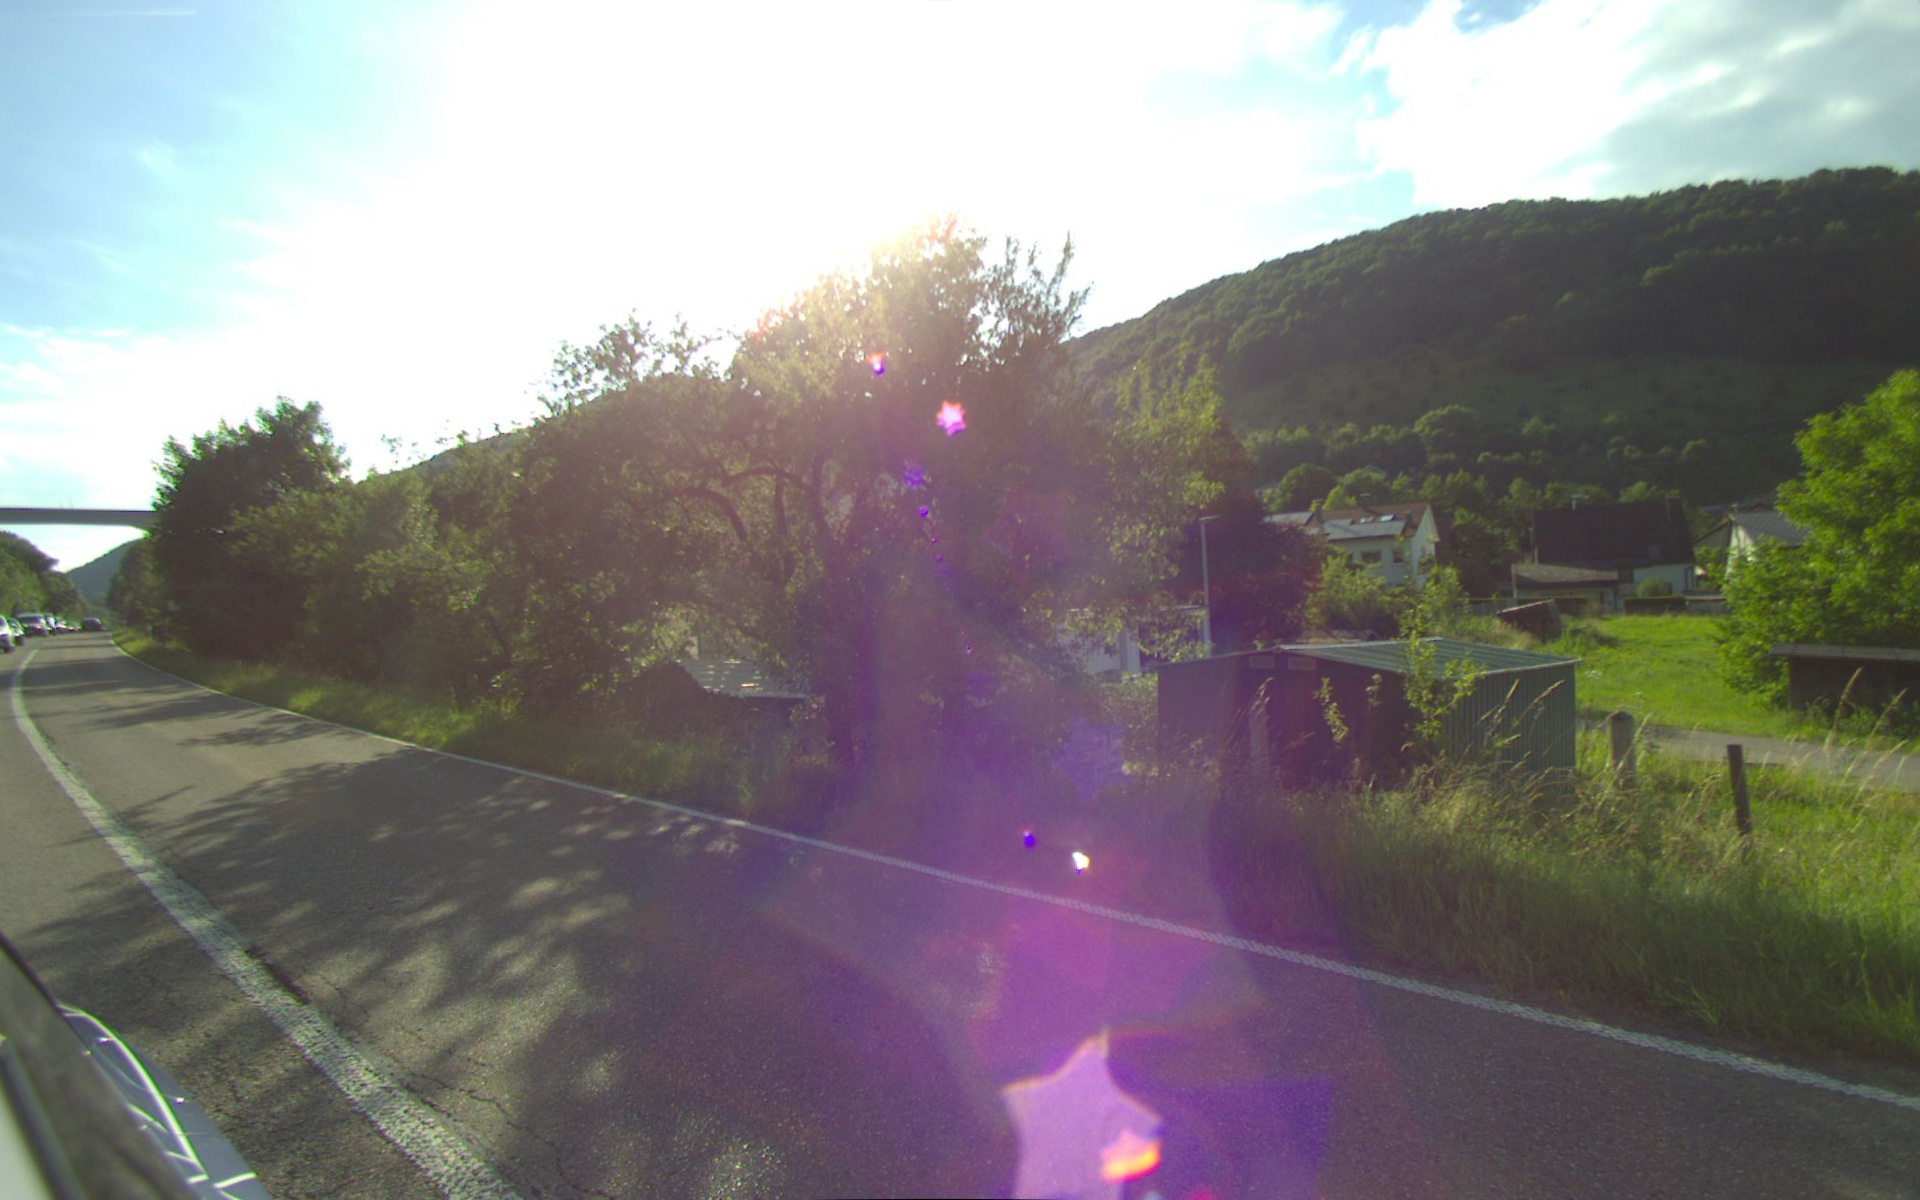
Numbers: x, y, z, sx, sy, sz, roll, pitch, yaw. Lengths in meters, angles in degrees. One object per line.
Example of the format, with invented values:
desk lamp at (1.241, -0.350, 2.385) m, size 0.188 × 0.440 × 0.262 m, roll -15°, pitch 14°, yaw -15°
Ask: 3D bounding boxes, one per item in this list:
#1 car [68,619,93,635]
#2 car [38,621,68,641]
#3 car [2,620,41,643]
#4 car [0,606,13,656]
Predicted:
car at (-88.013, 2.697, 101.243) m, size 1.792 × 1.630 × 3.809 m, roll 1°, pitch -2°, yaw -43°
car at (-75.970, 2.585, 84.817) m, size 1.791 × 1.630 × 4.006 m, roll 1°, pitch -2°, yaw -41°
car at (-68.601, 2.309, 74.041) m, size 1.791 × 1.630 × 4.007 m, roll 1°, pitch -2°, yaw -39°
car at (-41.324, 1.303, 42.723) m, size 1.887 × 2.029 × 4.004 m, roll 1°, pitch -2°, yaw -43°
